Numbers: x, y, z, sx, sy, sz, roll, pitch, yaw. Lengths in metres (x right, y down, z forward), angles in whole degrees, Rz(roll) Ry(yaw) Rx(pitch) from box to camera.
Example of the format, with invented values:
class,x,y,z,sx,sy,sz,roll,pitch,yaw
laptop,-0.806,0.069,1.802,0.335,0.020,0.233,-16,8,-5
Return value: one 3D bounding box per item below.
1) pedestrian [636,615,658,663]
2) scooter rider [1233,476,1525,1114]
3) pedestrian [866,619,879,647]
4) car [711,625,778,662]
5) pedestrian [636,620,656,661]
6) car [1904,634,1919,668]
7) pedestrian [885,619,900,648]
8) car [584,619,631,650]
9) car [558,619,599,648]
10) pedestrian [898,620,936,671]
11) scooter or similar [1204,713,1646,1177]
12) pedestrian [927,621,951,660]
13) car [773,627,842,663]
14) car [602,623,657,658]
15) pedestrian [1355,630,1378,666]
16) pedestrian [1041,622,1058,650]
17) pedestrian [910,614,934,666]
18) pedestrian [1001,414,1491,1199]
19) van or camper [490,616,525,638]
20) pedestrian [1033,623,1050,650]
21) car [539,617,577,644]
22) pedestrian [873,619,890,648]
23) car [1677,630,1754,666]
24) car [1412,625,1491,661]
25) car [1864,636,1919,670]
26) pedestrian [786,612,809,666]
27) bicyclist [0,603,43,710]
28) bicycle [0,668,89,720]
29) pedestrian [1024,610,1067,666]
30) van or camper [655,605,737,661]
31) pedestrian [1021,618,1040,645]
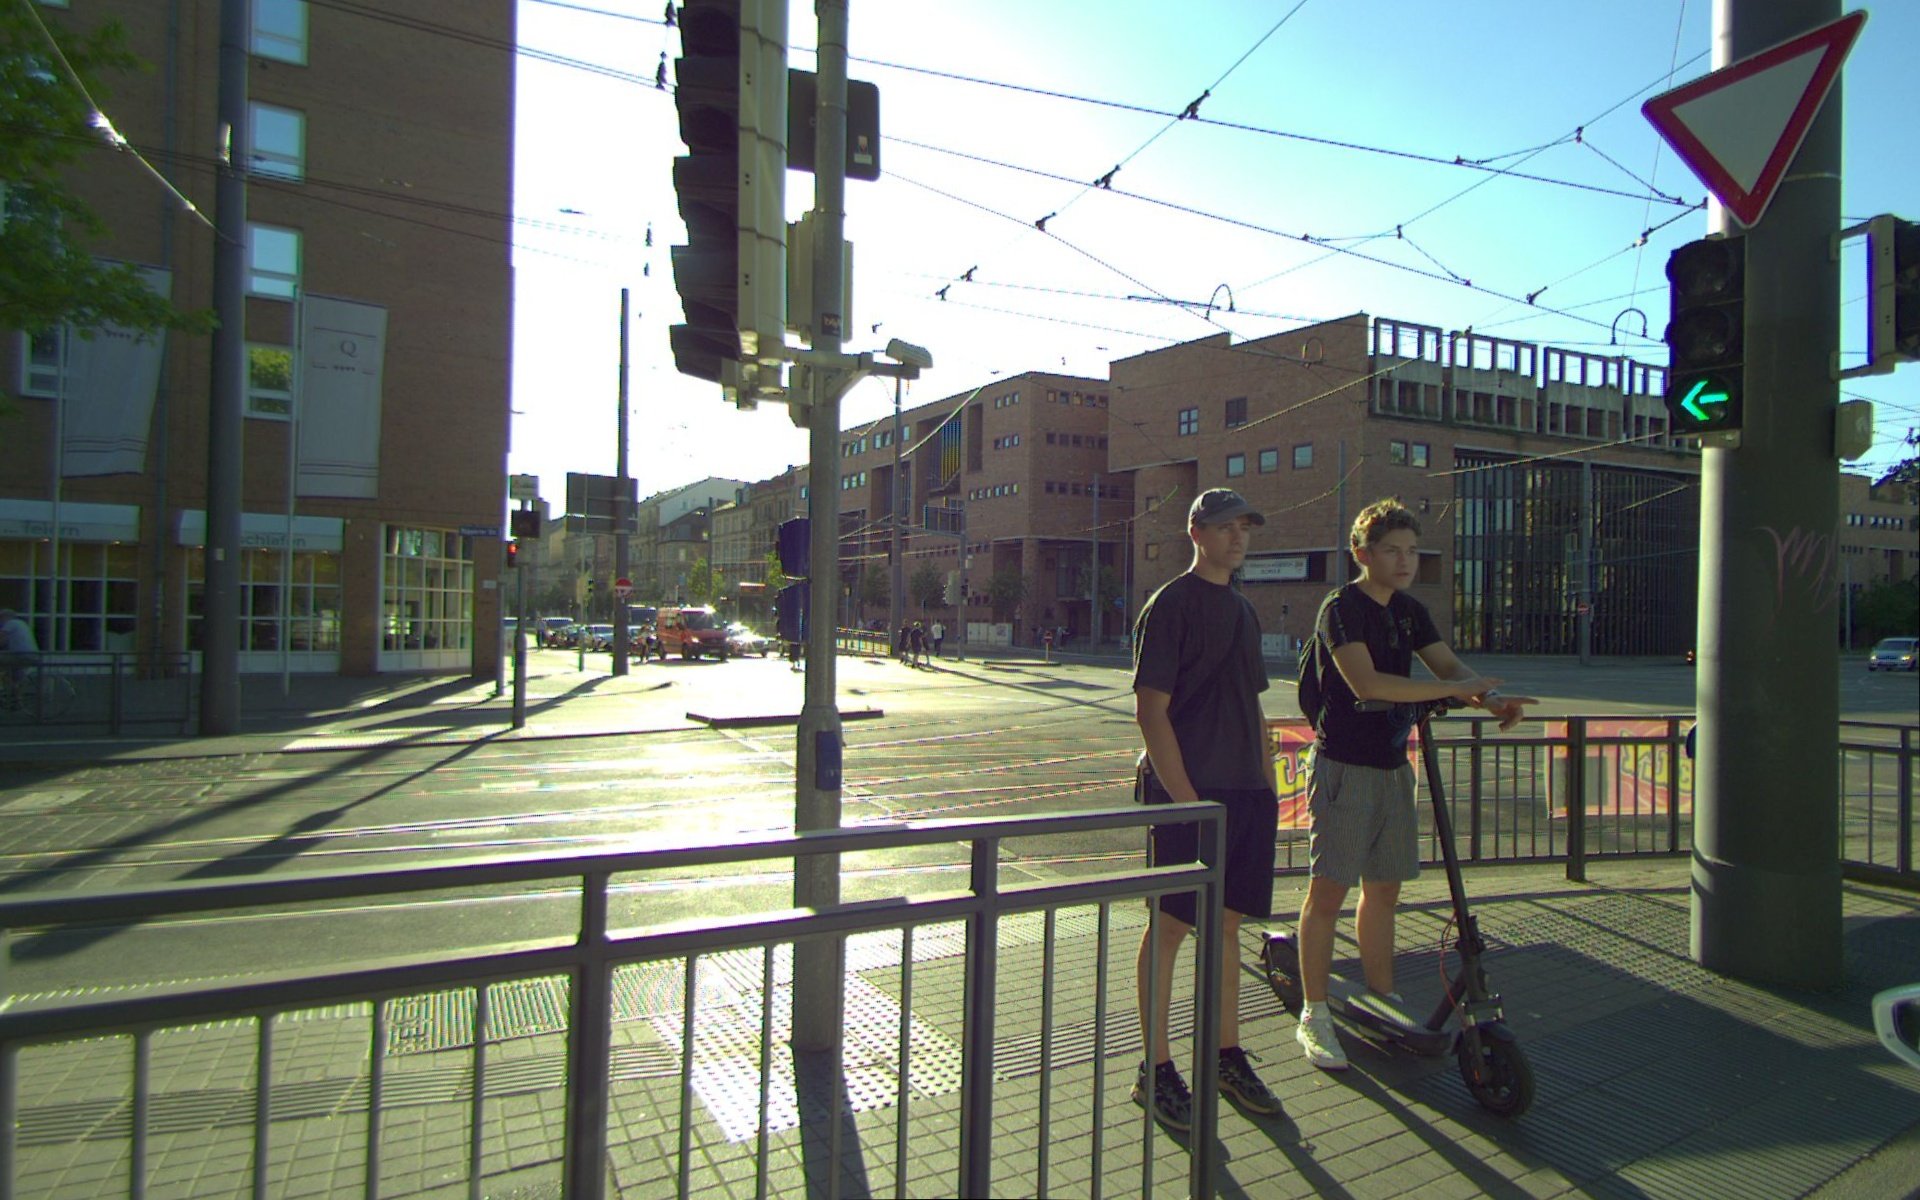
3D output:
class,x,y,z,sx,sy,sz,roll,pitch,yaw
pedestrian,-13.577,1.697,43.561,0.597,2.040,0.848,2,-2,-37
scooter rider,1.395,0.592,3.371,0.670,1.877,0.564,3,-2,-25
pedestrian,-6.312,2.369,72.328,0.644,2.040,0.780,2,-1,-31
car,-10.623,2.100,49.389,1.978,1.709,3.965,2,-2,-32
pedestrian,-14.299,1.854,45.768,0.597,1.843,0.848,2,-2,-37
car,52.093,2.728,53.629,3.962,1.813,1.810,2,-2,-36
pedestrian,-4.757,2.344,70.411,0.742,2.010,0.780,2,-1,-32
car,-20.554,2.003,58.502,1.738,1.750,3.965,2,-2,-32
car,-24.315,2.132,63.961,1.738,1.750,3.965,2,-2,-32
pedestrian,-1.607,1.680,37.451,0.943,1.822,0.988,2,0,40
scooter or similar,1.451,0.981,3.319,0.639,1.095,1.199,1,-2,-25
pedestrian,-0.965,1.859,46.249,0.857,1.775,0.672,2,-2,-30
car,-7.630,2.217,49.996,1.978,1.709,3.965,2,-2,-32
car,-17.208,2.065,52.198,1.738,1.750,3.964,2,-2,-33
pedestrian,22.098,2.604,54.637,0.866,1.927,0.718,2,0,-33
pedestrian,6.718,2.700,75.577,0.841,2.079,1.001,2,-2,-31
pedestrian,-1.512,1.582,40.034,0.603,2.040,0.731,0,-1,31
pedestrian,0.765,0.555,2.969,0.842,1.908,1.164,1,-2,-25
van or camper,-38.994,2.305,86.532,1.994,1.751,4.615,2,0,-33
pedestrian,6.245,2.783,76.978,0.841,2.079,1.001,2,-2,-31
car,-27.341,2.051,68.264,1.738,1.750,3.965,2,-2,-32
pedestrian,-5.451,2.315,69.931,0.917,2.010,0.780,2,-1,-32
car,44.035,2.791,58.521,4.414,2.040,1.869,2,-2,-28
car,28.704,2.503,58.658,4.136,2.040,1.988,1,-2,-26
car,46.293,2.589,49.647,3.962,1.598,1.610,2,-2,-36
pedestrian,-6.219,1.484,38.401,0.721,2.040,0.611,1,-1,-19
bicyclist,-14.880,0.876,15.796,0.508,1.647,0.584,1,-1,-29
bicycle,-14.996,1.468,15.729,1.945,0.781,0.587,2,-2,-30
pedestrian,3.245,1.449,38.257,1.193,2.040,1.028,2,0,-30
van or camper,-12.203,1.505,46.180,1.981,2.451,4.981,2,-2,-36
pedestrian,5.370,2.361,76.330,0.902,2.040,1.151,2,-2,-33
